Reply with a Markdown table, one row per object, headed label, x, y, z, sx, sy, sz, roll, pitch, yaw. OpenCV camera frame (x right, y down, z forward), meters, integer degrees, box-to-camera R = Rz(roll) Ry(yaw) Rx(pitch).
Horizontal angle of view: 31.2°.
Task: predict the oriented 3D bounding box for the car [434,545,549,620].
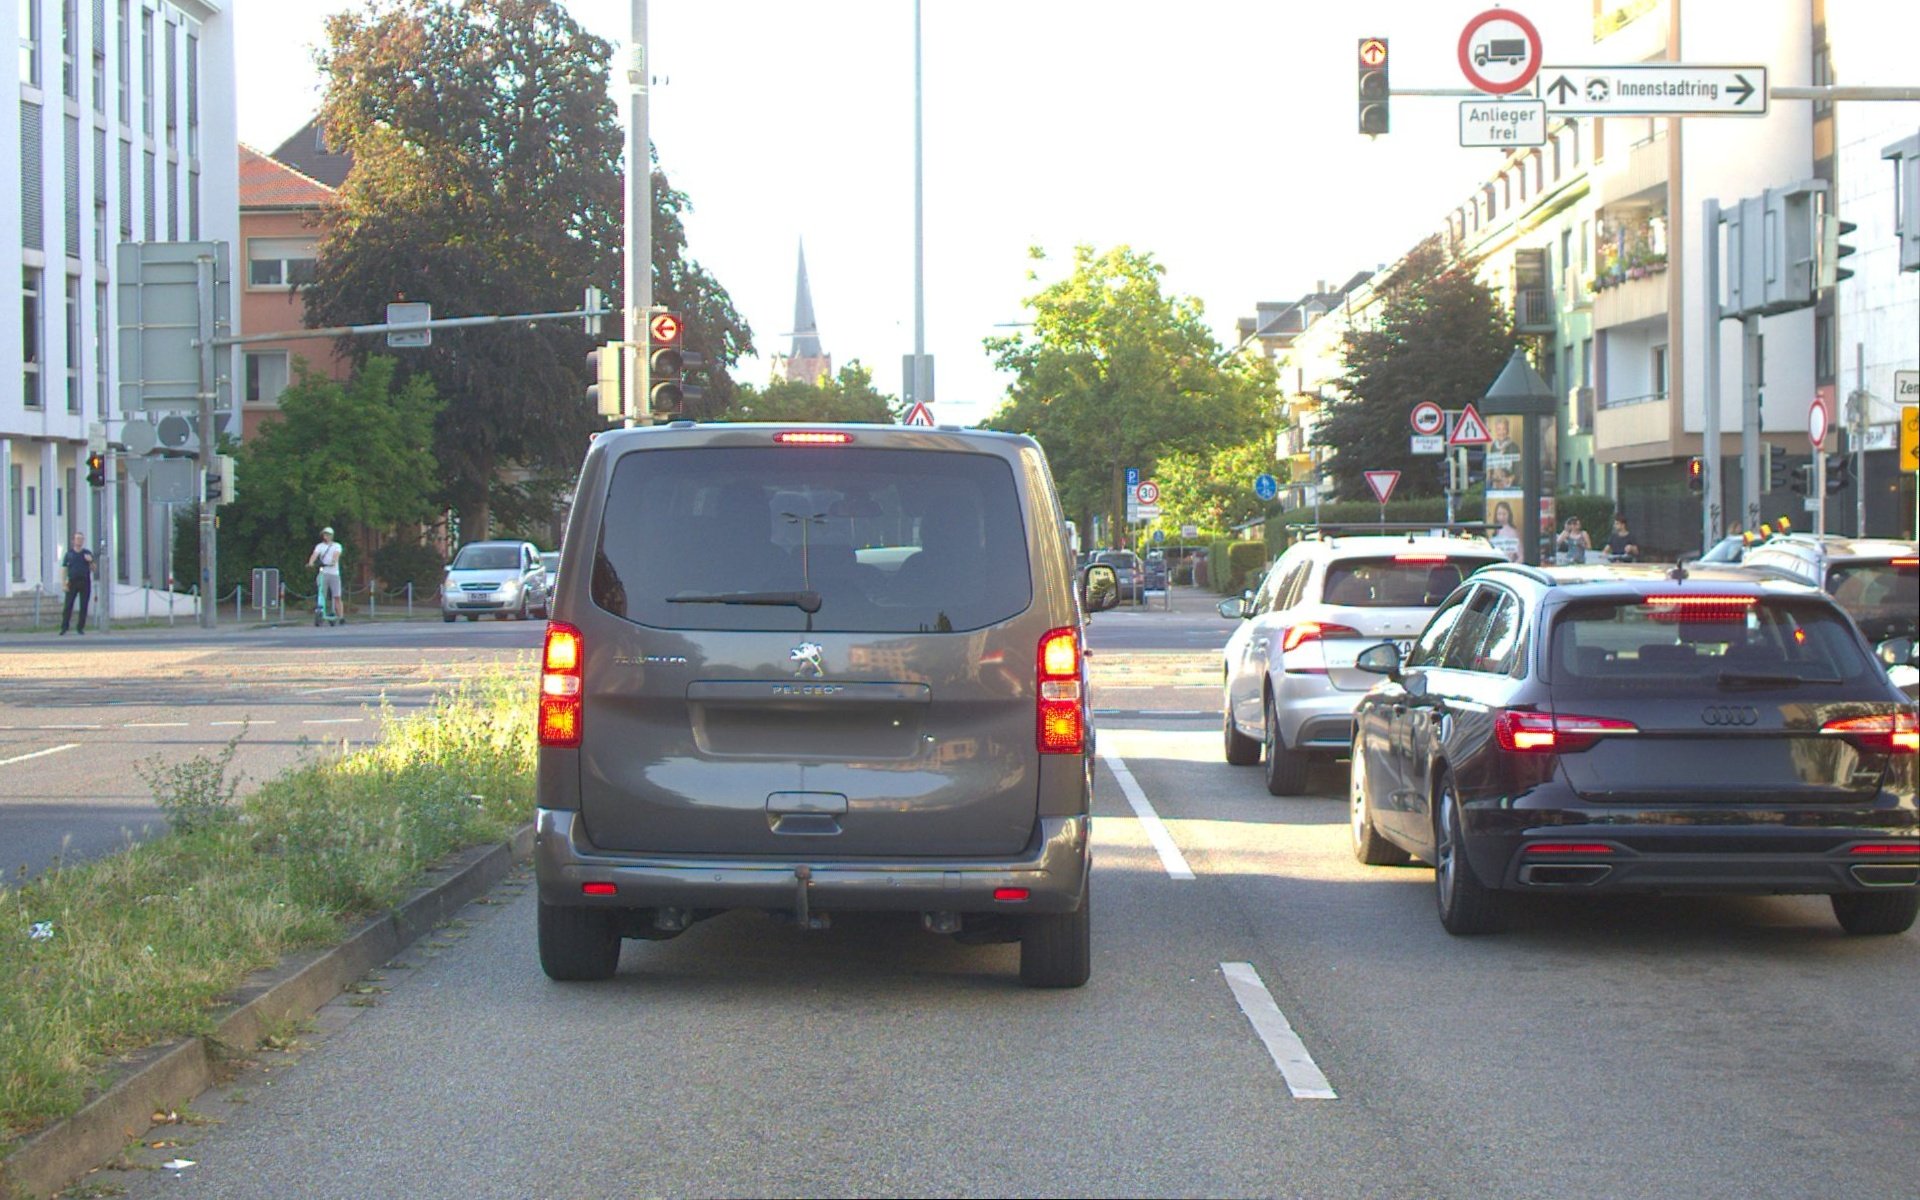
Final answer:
| label | x | y | z | sx | sy | sz | roll | pitch | yaw |
| --- | --- | --- | --- | --- | --- | --- | --- | --- | --- |
| car | -9.364 | -0.372 | 68.967 | 1.856 | 1.415 | 4.001 | -1 | 1 | -2 |

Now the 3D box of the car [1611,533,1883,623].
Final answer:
| label | x | y | z | sx | sy | sz | roll | pitch | yaw |
| --- | --- | --- | --- | --- | --- | --- | --- | --- | --- |
| car | 12.858 | -0.371 | 56.311 | 3.986 | 1.415 | 1.788 | 0 | 1 | -5 |

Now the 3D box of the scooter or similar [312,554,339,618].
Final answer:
| label | x | y | z | sx | sy | sz | roll | pitch | yaw |
| --- | --- | --- | --- | --- | --- | --- | --- | --- | --- |
| scooter or similar | -11.975 | -0.268 | 64.893 | 0.285 | 1.184 | 1.169 | 0 | 1 | 0 |

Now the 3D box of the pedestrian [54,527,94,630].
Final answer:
| label | x | y | z | sx | sy | sz | roll | pitch | yaw |
| --- | --- | --- | --- | --- | --- | --- | --- | --- | --- |
| pedestrian | -14.877 | -0.361 | 57.729 | 0.625 | 1.716 | 0.671 | -1 | 1 | -14 |

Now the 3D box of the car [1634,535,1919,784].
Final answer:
| label | x | y | z | sx | sy | sz | roll | pitch | yaw |
| --- | --- | --- | --- | --- | --- | --- | --- | --- | --- |
| car | 5.373 | 0.319 | 21.851 | 1.504 | 1.444 | 3.305 | 0 | 1 | 0 |

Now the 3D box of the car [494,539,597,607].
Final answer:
| label | x | y | z | sx | sy | sz | roll | pitch | yaw |
| --- | --- | --- | --- | --- | --- | --- | --- | --- | --- |
| car | -8.984 | -0.604 | 74.784 | 1.856 | 1.415 | 4.001 | -1 | 1 | -2 |

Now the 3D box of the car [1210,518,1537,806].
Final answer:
| label | x | y | z | sx | sy | sz | roll | pitch | yaw |
| --- | --- | --- | --- | --- | --- | --- | --- | --- | --- |
| car | 2.482 | 0.314 | 21.379 | 1.528 | 1.608 | 3.745 | 1 | 1 | 0 |

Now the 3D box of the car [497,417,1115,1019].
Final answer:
| label | x | y | z | sx | sy | sz | roll | pitch | yaw |
| --- | --- | --- | --- | --- | --- | --- | --- | --- | --- |
| car | -0.498 | 0.327 | 13.056 | 1.907 | 1.857 | 4.527 | 1 | 1 | 0 |

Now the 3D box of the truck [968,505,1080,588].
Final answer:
| label | x | y | z | sx | sy | sz | roll | pitch | yaw |
| --- | --- | --- | --- | --- | --- | --- | --- | --- | --- |
| truck | 1.640 | -1.410 | 89.646 | 2.127 | 2.079 | 4.632 | -1 | 1 | -9 |

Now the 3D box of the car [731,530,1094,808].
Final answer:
| label | x | y | z | sx | sy | sz | roll | pitch | yaw |
| --- | --- | --- | --- | --- | --- | --- | --- | --- | --- |
| car | -0.274 | 0.340 | 20.964 | 1.993 | 1.525 | 4.000 | 0 | 1 | 0 |

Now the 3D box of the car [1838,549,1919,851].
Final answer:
| label | x | y | z | sx | sy | sz | roll | pitch | yaw |
| --- | --- | --- | --- | --- | --- | --- | --- | --- | --- |
| car | 5.453 | 0.509 | 16.173 | 1.633 | 1.444 | 3.745 | 1 | 1 | 0 |

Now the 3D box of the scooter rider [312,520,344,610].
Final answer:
| label | x | y | z | sx | sy | sz | roll | pitch | yaw |
| --- | --- | --- | --- | --- | --- | --- | --- | --- | --- |
| scooter rider | -11.948 | -0.658 | 64.976 | 0.481 | 1.691 | 0.636 | 0 | 1 | 0 |

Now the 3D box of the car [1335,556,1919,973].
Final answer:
| label | x | y | z | sx | sy | sz | roll | pitch | yaw |
| --- | --- | --- | --- | --- | --- | --- | --- | --- | --- |
| car | 2.648 | 0.555 | 14.237 | 1.681 | 1.416 | 4.214 | 1 | 1 | 0 |
